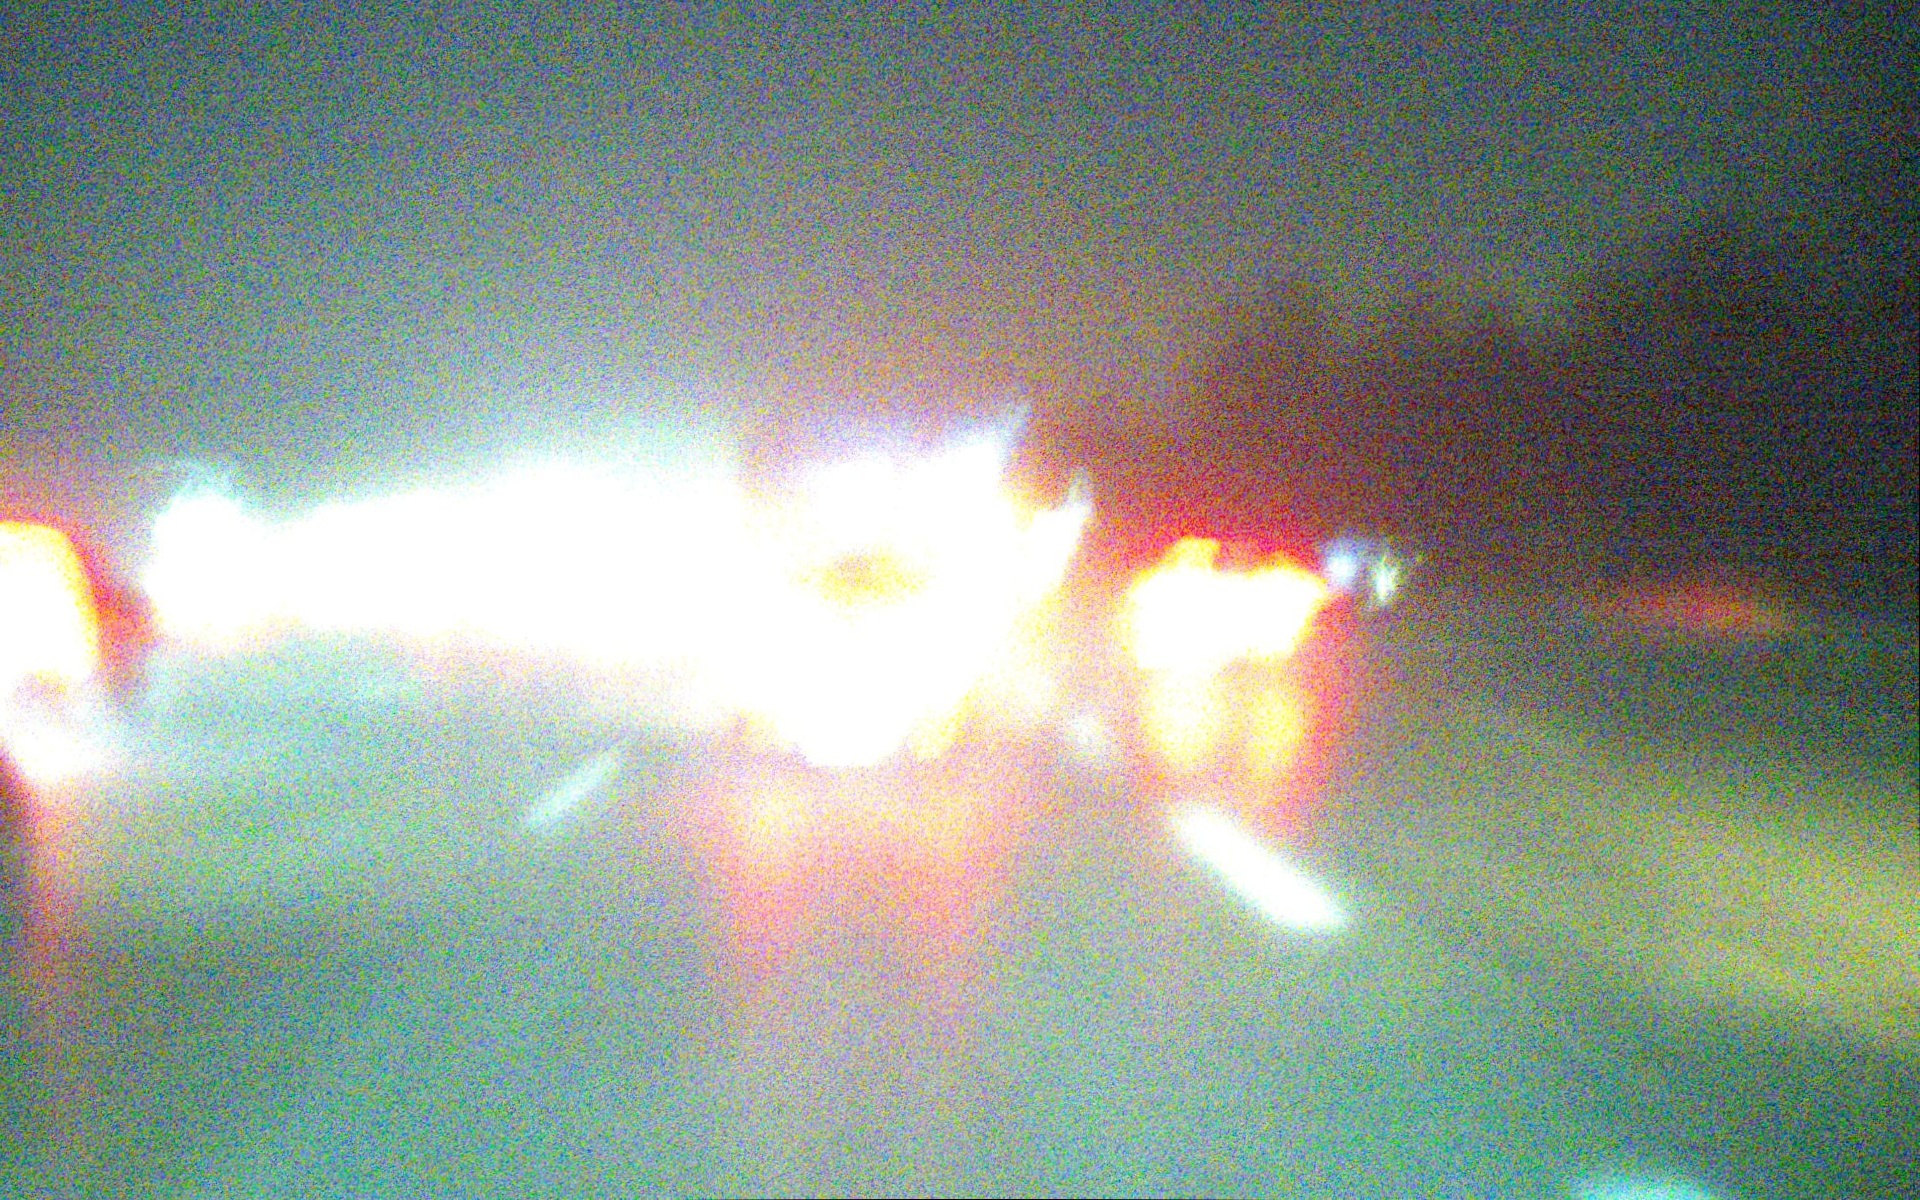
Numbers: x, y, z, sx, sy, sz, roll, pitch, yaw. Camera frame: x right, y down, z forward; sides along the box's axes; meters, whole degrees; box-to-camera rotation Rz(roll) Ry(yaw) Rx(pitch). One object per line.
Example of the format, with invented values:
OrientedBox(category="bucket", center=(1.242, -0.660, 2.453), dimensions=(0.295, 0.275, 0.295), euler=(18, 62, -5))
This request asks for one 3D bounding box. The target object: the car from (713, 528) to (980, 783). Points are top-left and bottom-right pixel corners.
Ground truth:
OrientedBox(category="car", center=(-0.766, 0.326, 24.788), dimensions=(1.765, 1.683, 4.000), euler=(0, 1, 0))

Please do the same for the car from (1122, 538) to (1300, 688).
OrientedBox(category="car", center=(3.068, 0.140, 42.686), dimensions=(1.878, 1.756, 4.000), euler=(0, 0, 0))

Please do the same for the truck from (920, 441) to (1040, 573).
OrientedBox(category="truck", center=(0.739, -3.706, 140.494), dimensions=(4.161, 5.197, 9.955), euler=(0, 0, -4))

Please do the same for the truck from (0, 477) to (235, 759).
OrientedBox(category="truck", center=(-8.144, 0.112, 29.695), dimensions=(2.857, 2.193, 5.859), euler=(0, 0, -4))

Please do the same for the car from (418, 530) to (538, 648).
OrientedBox(category="car", center=(-9.629, -0.231, 68.889), dimensions=(2.263, 2.265, 5.387), euler=(0, 0, -7))

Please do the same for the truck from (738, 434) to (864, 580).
OrientedBox(category="truck", center=(-6.102, -3.539, 134.083), dimensions=(4.254, 5.425, 10.884), euler=(0, 0, 1))

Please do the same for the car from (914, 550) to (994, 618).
OrientedBox(category="car", center=(-0.178, -0.423, 89.121), dimensions=(1.993, 1.698, 4.458), euler=(0, 0, -1))

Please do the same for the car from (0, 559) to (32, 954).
OrientedBox(category="car", center=(-4.173, 0.607, 10.921), dimensions=(1.656, 1.426, 4.247), euler=(0, 1, -5))

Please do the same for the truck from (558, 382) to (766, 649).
OrientedBox(category="truck", center=(-5.734, -1.546, 66.123), dimensions=(3.655, 4.721, 9.854), euler=(0, 0, -5))
